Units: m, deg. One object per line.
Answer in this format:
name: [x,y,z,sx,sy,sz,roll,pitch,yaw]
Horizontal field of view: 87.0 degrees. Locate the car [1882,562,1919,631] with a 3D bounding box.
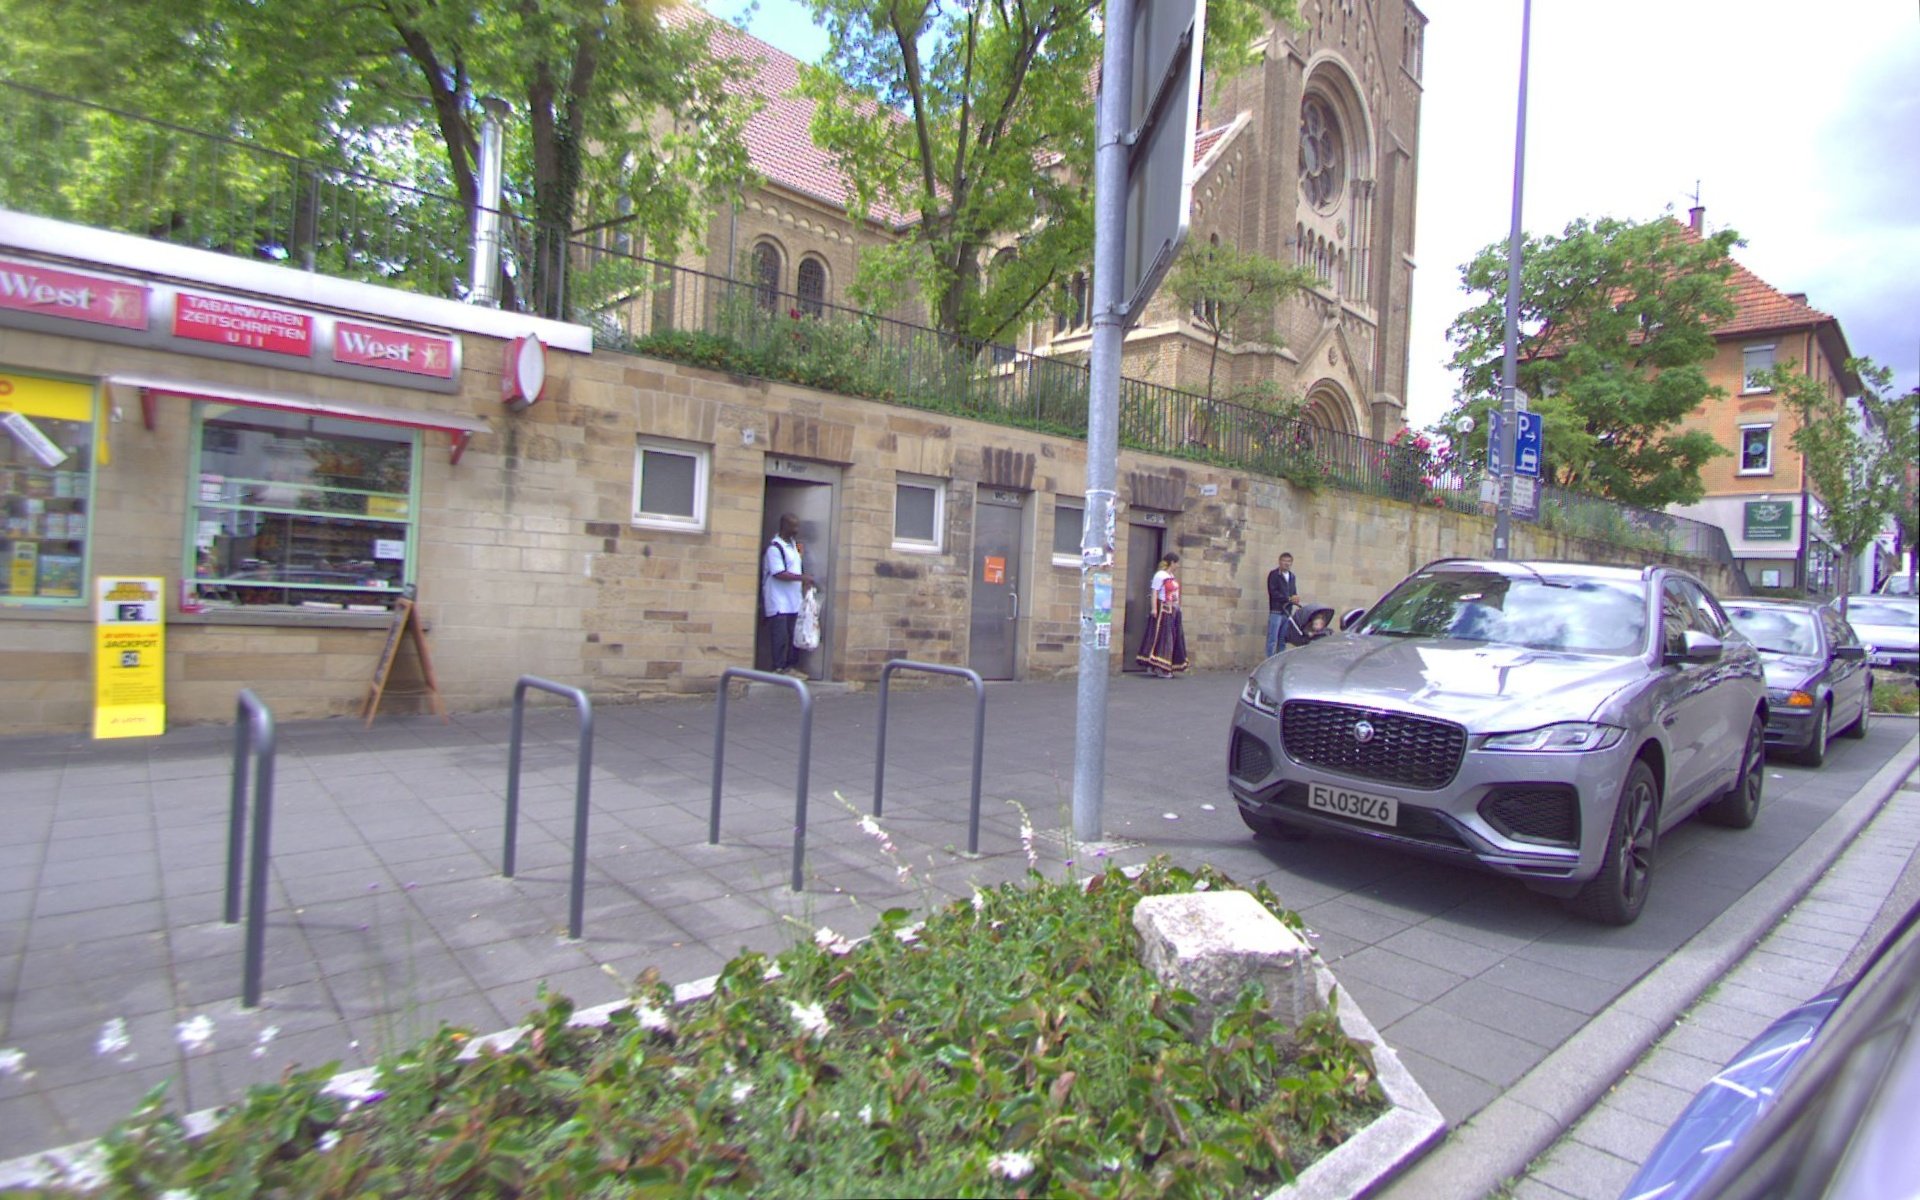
car: [28.385,-0.129,29.166,4.940,1.870,1.890,-2,3,-39]

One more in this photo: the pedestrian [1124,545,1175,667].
pedestrian: [2.655,0.073,14.197,0.496,1.666,0.475,0,2,-31]

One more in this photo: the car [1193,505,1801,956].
car: [3.526,0.452,6.171,4.498,1.745,1.931,0,3,-44]

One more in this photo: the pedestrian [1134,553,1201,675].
pedestrian: [2.713,0.172,13.252,0.572,1.542,0.591,1,1,-31]

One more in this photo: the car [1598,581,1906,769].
car: [8.182,0.572,10.308,4.296,1.434,1.684,-2,3,-41]

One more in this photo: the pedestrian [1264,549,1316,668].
pedestrian: [4.710,0.110,14.455,0.496,1.666,0.475,0,2,-31]

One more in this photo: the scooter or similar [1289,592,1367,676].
scooter or similar: [5.044,0.447,13.887,0.549,1.085,0.815,-1,2,-31]

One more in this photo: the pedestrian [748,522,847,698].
pedestrian: [-1.689,0.084,10.550,0.596,1.751,0.750,5,3,45]

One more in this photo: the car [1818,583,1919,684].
car: [15.891,0.495,17.114,1.756,1.458,4.024,3,4,45]
